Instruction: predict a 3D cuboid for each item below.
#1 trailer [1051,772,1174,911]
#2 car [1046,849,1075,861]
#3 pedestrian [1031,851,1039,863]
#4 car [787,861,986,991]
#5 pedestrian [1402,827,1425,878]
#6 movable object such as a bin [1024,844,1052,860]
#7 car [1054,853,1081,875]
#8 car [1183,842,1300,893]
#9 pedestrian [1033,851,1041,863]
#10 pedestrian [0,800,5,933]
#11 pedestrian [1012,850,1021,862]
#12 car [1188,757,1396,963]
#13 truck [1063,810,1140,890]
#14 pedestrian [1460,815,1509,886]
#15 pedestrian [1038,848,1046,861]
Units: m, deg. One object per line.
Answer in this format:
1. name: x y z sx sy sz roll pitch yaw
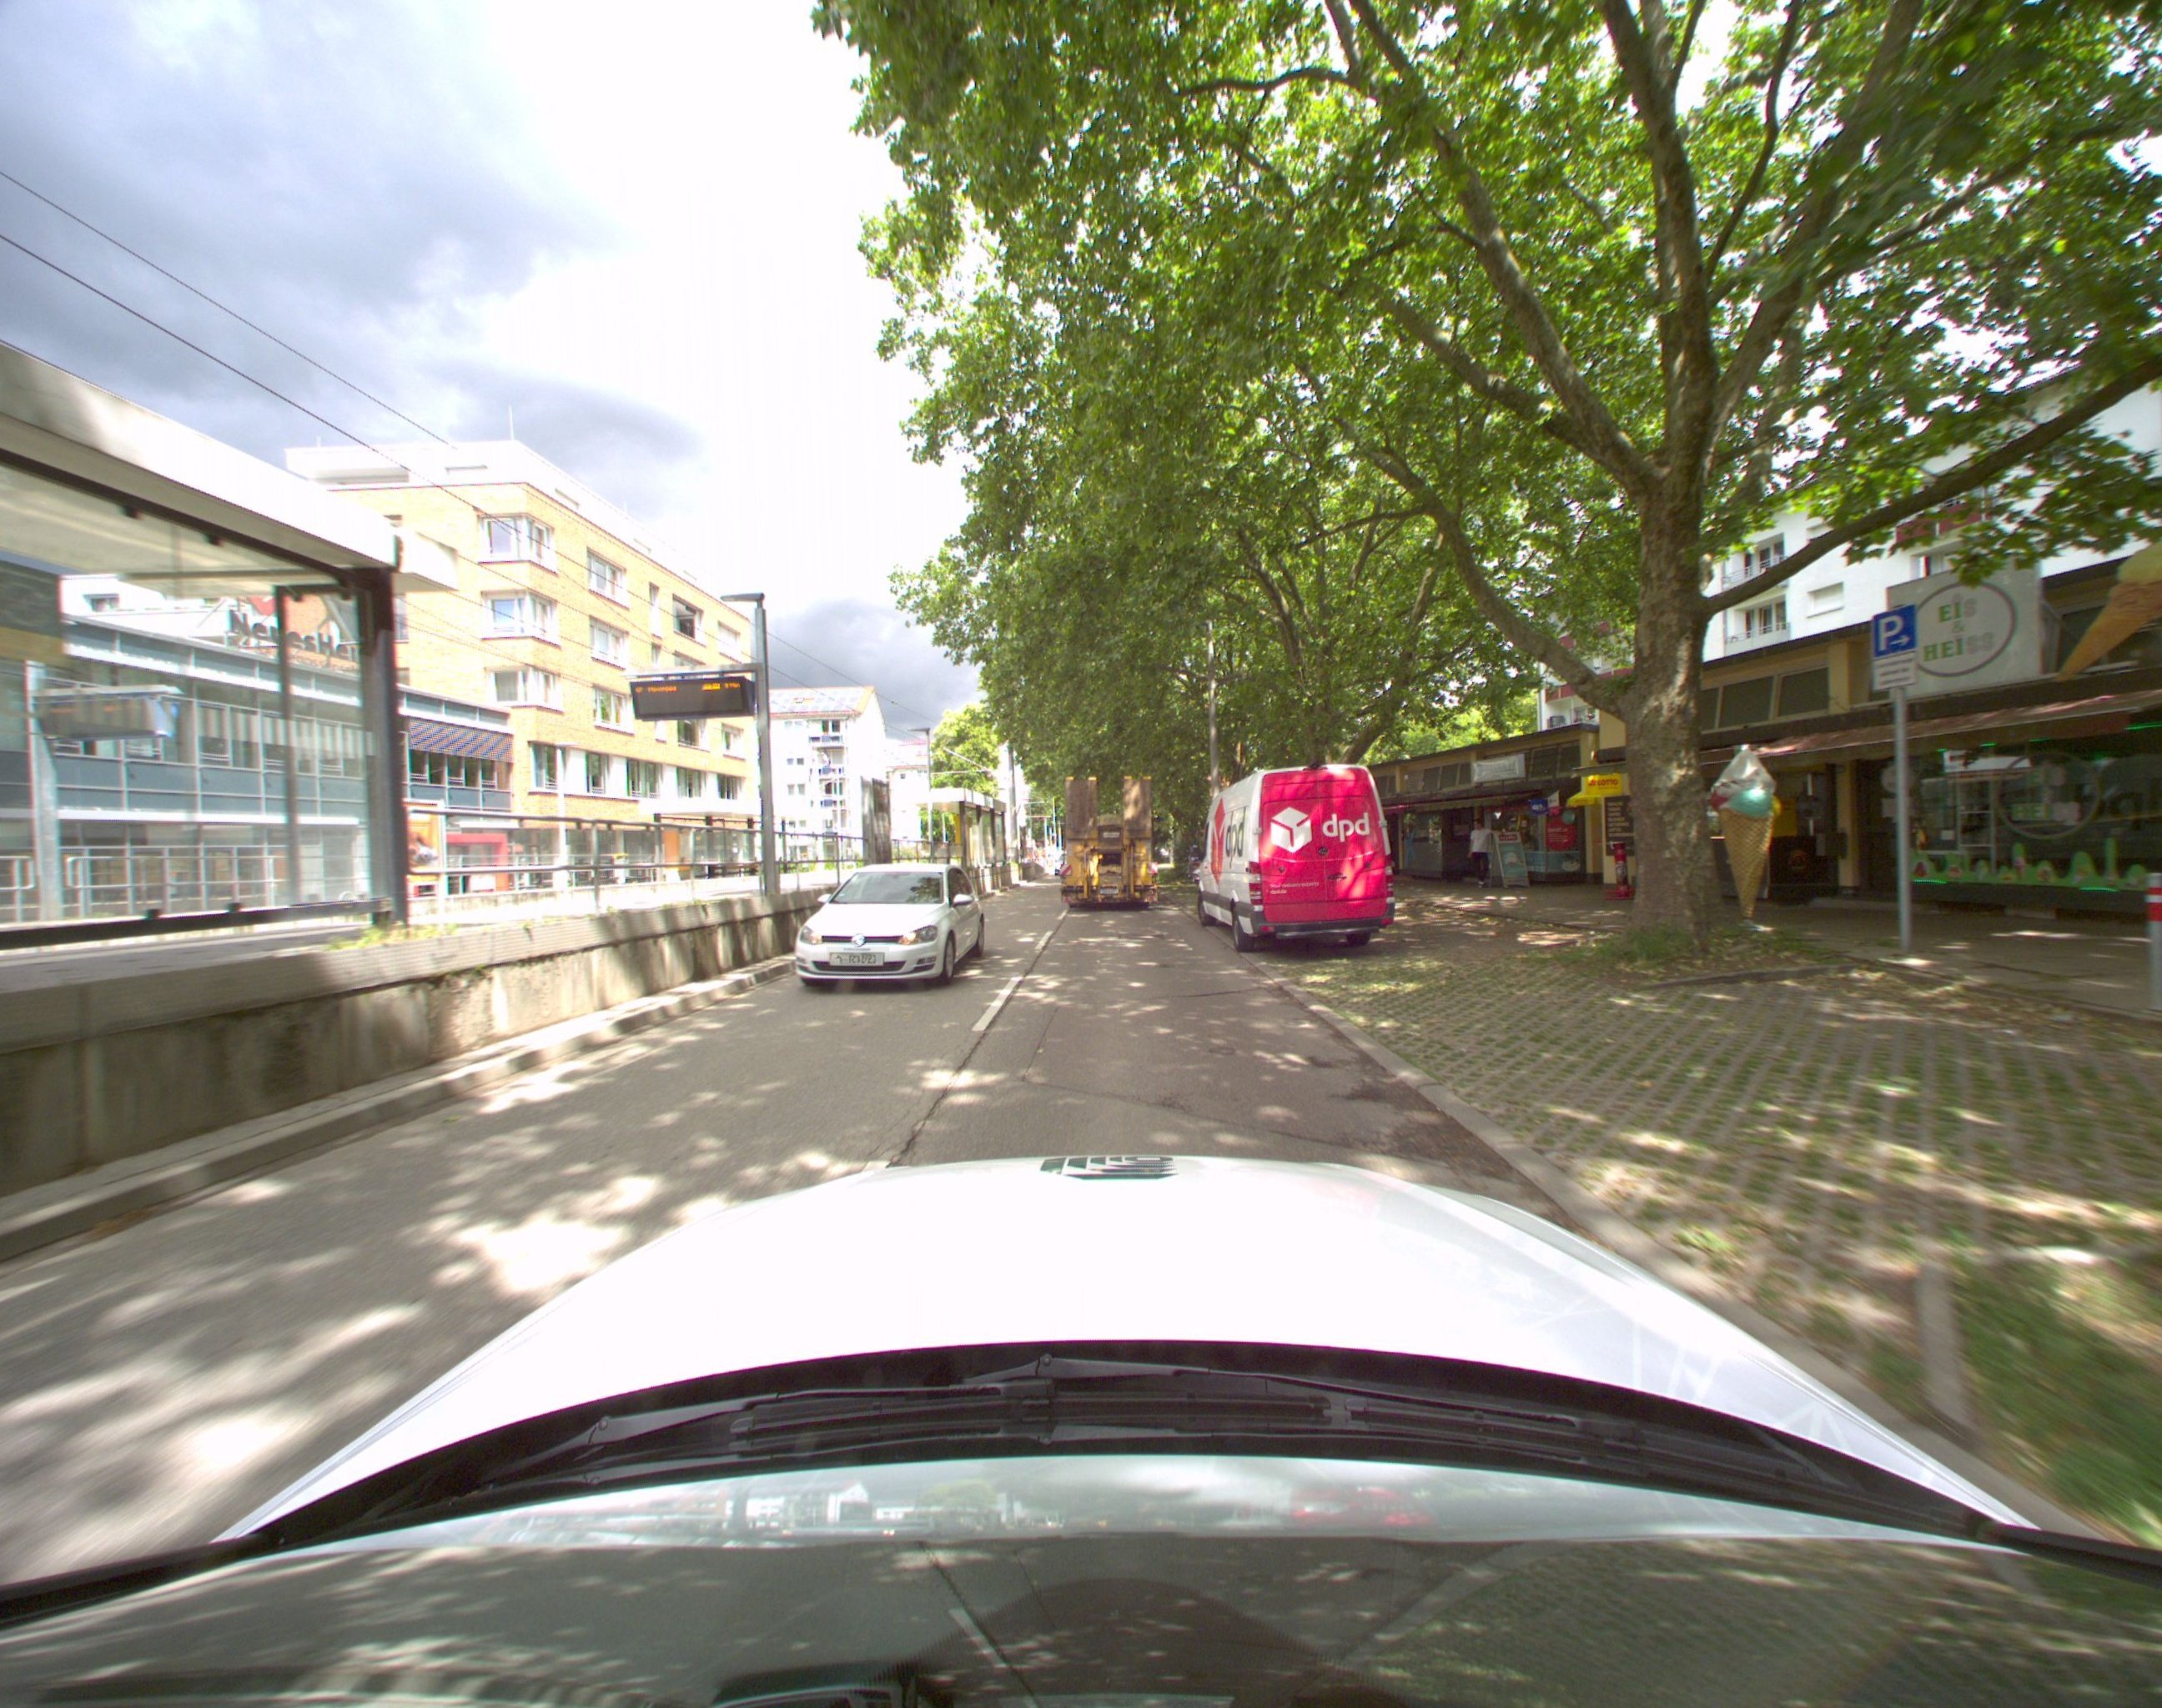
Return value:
1. trailer: 0.821 -0.327 26.660 3.144 3.552 11.095 -1 0 0
2. car: -3.810 0.155 152.860 5.094 2.102 1.968 0 0 -13
3. pedestrian: -6.825 0.393 121.391 0.878 1.760 0.841 -1 0 18
4. car: -2.361 0.806 10.866 1.726 1.396 3.751 0 0 0
5. pedestrian: 11.478 -0.047 28.102 0.543 1.704 0.373 -3 0 -5
6. movable object such as a bin: -7.453 -0.319 140.816 4.325 2.629 2.234 -1 0 28
7. car: -0.900 0.688 56.566 1.756 1.481 4.577 0 0 1
8. car: 5.768 0.478 29.503 3.823 1.562 1.617 -3 0 -5
9. pedestrian: -6.554 0.474 122.119 0.890 1.867 0.830 -1 0 -27
10. pedestrian: -13.695 0.162 9.659 0.748 1.629 0.816 -1 0 1
11. pedestrian: -9.551 0.313 120.504 0.891 1.645 0.891 -1 0 -29
12. car: 3.219 0.078 14.110 1.897 2.581 6.836 -4 0 2
13. truck: 0.866 -0.162 36.123 2.979 3.135 7.888 -1 0 1
14. pedestrian: 10.570 -0.092 21.351 0.610 1.801 0.914 -2 -1 -44
15. pedestrian: -5.990 0.095 125.176 0.877 1.867 0.842 -1 0 30
